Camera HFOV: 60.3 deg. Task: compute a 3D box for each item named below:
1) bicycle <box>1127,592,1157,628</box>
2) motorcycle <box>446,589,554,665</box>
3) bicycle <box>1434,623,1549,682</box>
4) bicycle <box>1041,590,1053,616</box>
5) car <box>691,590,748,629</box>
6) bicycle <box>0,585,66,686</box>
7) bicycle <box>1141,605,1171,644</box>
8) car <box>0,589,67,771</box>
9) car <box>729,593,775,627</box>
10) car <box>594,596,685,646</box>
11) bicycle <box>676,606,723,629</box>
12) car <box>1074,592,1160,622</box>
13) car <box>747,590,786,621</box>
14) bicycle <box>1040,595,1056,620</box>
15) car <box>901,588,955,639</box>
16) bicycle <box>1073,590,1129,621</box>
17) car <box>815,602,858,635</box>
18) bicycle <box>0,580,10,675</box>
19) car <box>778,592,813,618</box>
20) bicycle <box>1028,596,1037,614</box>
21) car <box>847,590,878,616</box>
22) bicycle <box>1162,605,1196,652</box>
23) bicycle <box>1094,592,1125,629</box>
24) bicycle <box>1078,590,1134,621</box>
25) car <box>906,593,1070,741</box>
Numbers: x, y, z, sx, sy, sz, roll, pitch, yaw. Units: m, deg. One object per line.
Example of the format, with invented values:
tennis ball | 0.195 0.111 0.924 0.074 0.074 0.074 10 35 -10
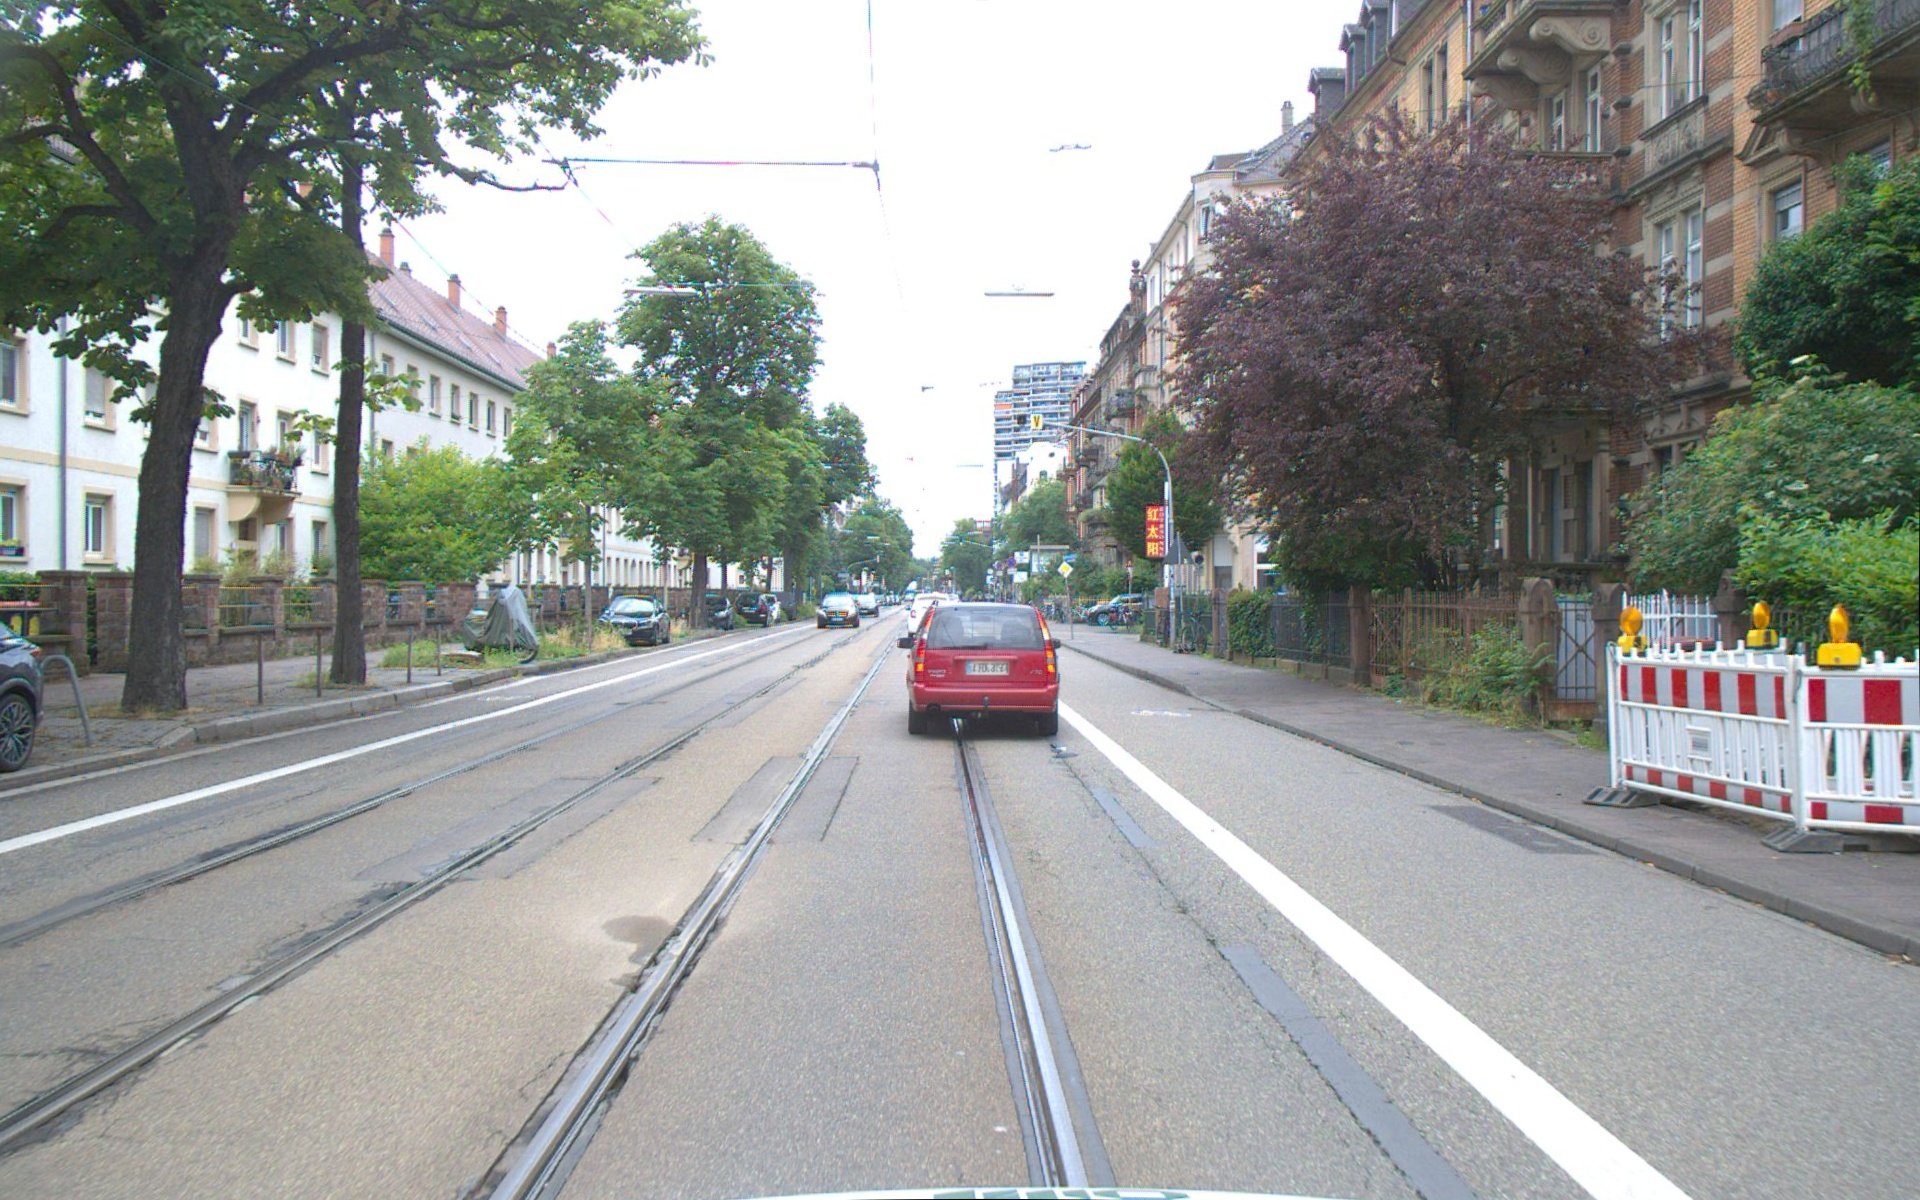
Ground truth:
bicycle | 8.019 0.427 72.755 0.898 1.533 2.382 0 0 15
motorcycle | -9.635 0.552 34.614 2.225 1.538 0.924 0 -2 34
bicycle | 8.111 0.799 25.275 1.582 0.879 0.555 -1 0 6
bicycle | 4.791 0.156 91.510 0.540 1.424 1.733 0 0 -1
car | -9.660 0.348 66.645 1.682 1.508 4.000 1 0 0
bicycle | -13.689 0.487 23.562 0.776 1.406 2.140 0 0 -1
bicycle | 5.440 0.661 45.973 0.512 1.048 2.176 0 0 -1
car | -9.006 0.674 12.938 1.741 1.537 4.237 1 0 0
car | -10.023 0.482 79.946 1.813 1.590 3.942 0 0 -1
car | -9.590 0.601 49.802 1.851 1.422 4.416 1 0 0
bicycle | -10.211 0.690 64.862 1.713 0.858 0.684 1 0 0
car | 7.376 0.334 77.655 3.902 1.385 1.894 0 0 9
car | -10.641 0.280 91.185 1.678 1.608 3.999 1 0 -1
bicycle | 4.652 0.378 87.480 0.694 1.323 1.904 0 0 -1
car | -1.039 0.442 56.005 1.683 1.653 3.941 1 0 1
bicycle | 7.782 0.301 91.427 2.916 1.653 1.049 0 0 -4
car | -5.433 0.785 73.038 1.720 1.404 4.025 0 0 -2
bicycle | -14.475 0.414 23.614 0.615 1.406 2.140 0 0 -1
car | -9.579 0.268 96.355 1.685 1.512 3.999 0 0 -1
bicycle | 4.643 0.325 106.333 0.480 1.118 1.733 0 0 -1
car | -6.374 0.194 108.603 1.855 1.639 4.499 0 0 -1
bicycle | 5.448 0.691 41.177 0.512 1.119 2.176 0 0 -1
bicycle | 6.458 0.437 71.473 0.898 1.533 2.382 1 0 15
bicycle | 7.894 0.311 89.696 2.916 1.653 1.049 0 0 -4
car | 0.251 0.682 18.915 1.655 1.466 3.742 1 1 -1
